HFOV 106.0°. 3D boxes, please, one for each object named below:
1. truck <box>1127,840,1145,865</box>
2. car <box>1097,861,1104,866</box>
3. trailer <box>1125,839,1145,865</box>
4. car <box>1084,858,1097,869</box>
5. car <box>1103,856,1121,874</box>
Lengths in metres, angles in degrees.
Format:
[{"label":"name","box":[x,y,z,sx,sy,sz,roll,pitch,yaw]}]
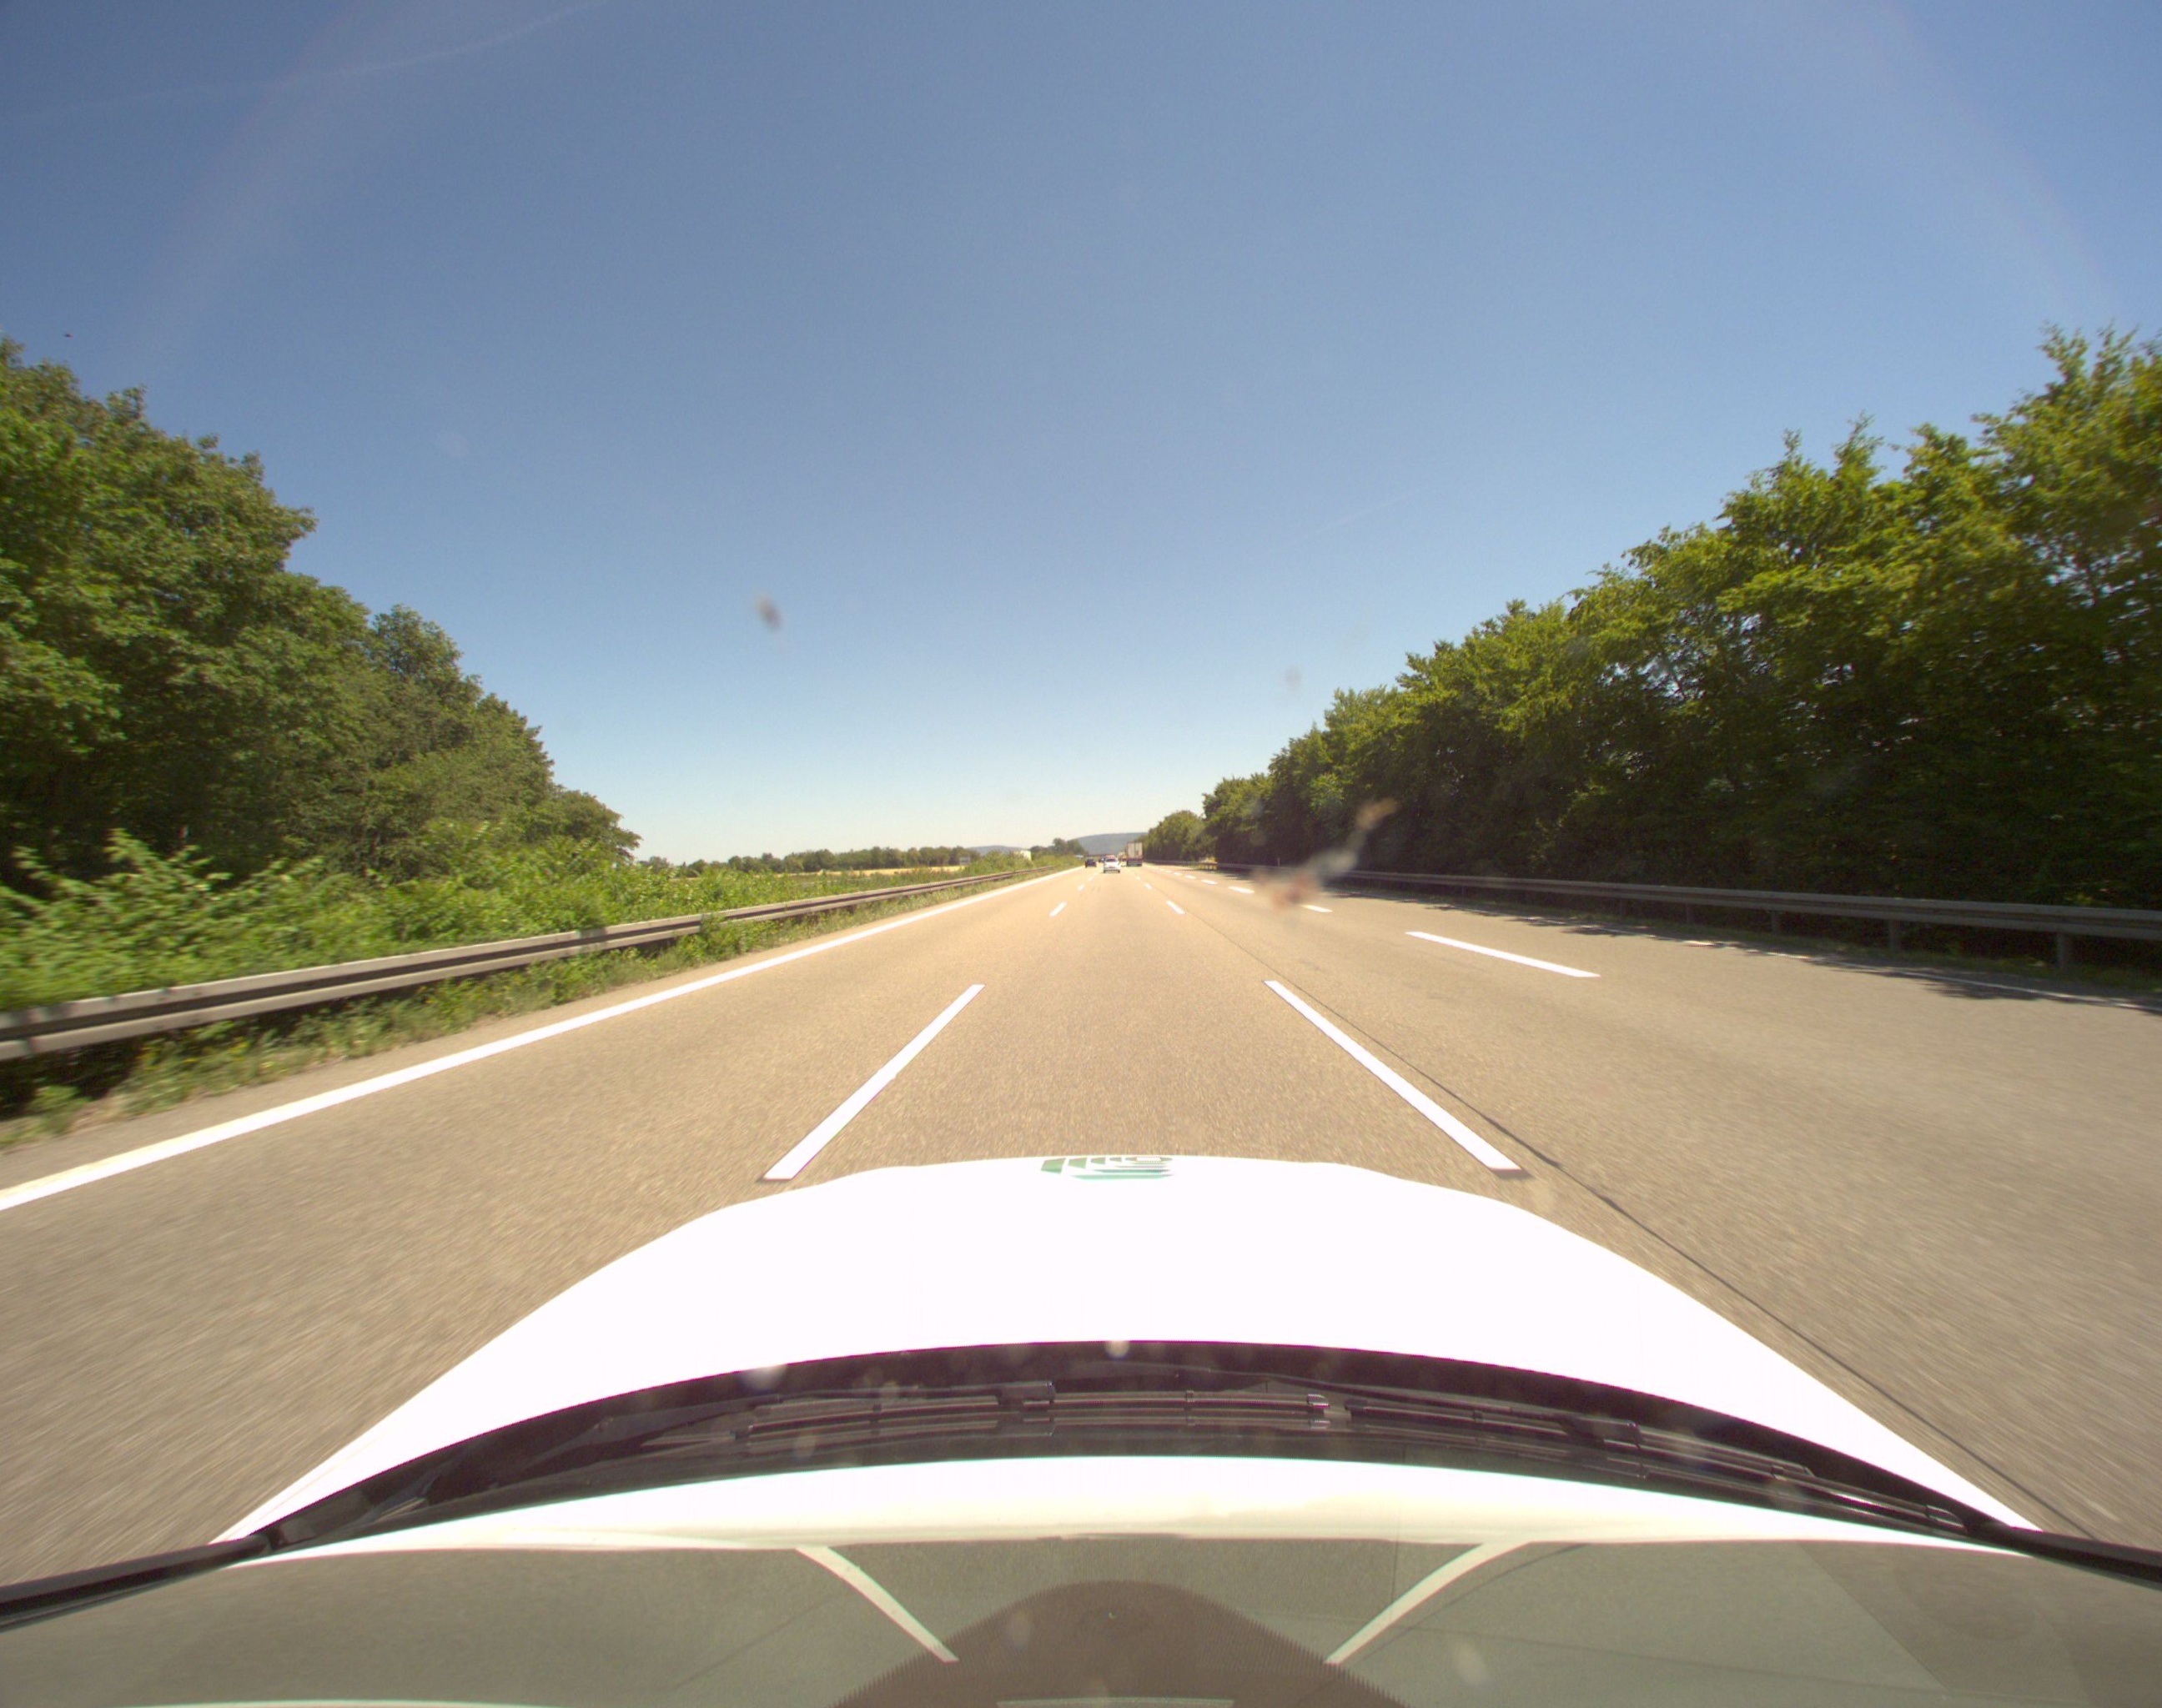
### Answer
[{"label":"truck","box":[10.027,-0.215,148.288,3.203,4.345,6.598,0,0,4]},{"label":"car","box":[5.704,2.767,239.683,1.788,1.551,4.002,-1,-1,2]},{"label":"trailer","box":[9.425,-0.259,140.756,3.203,4.345,13.645,0,0,5]},{"label":"car","box":[1.557,1.539,131.580,1.986,1.712,4.001,0,0,1]},{"label":"car","box":[3.133,1.069,82.580,1.726,1.684,4.001,-2,0,1]}]
